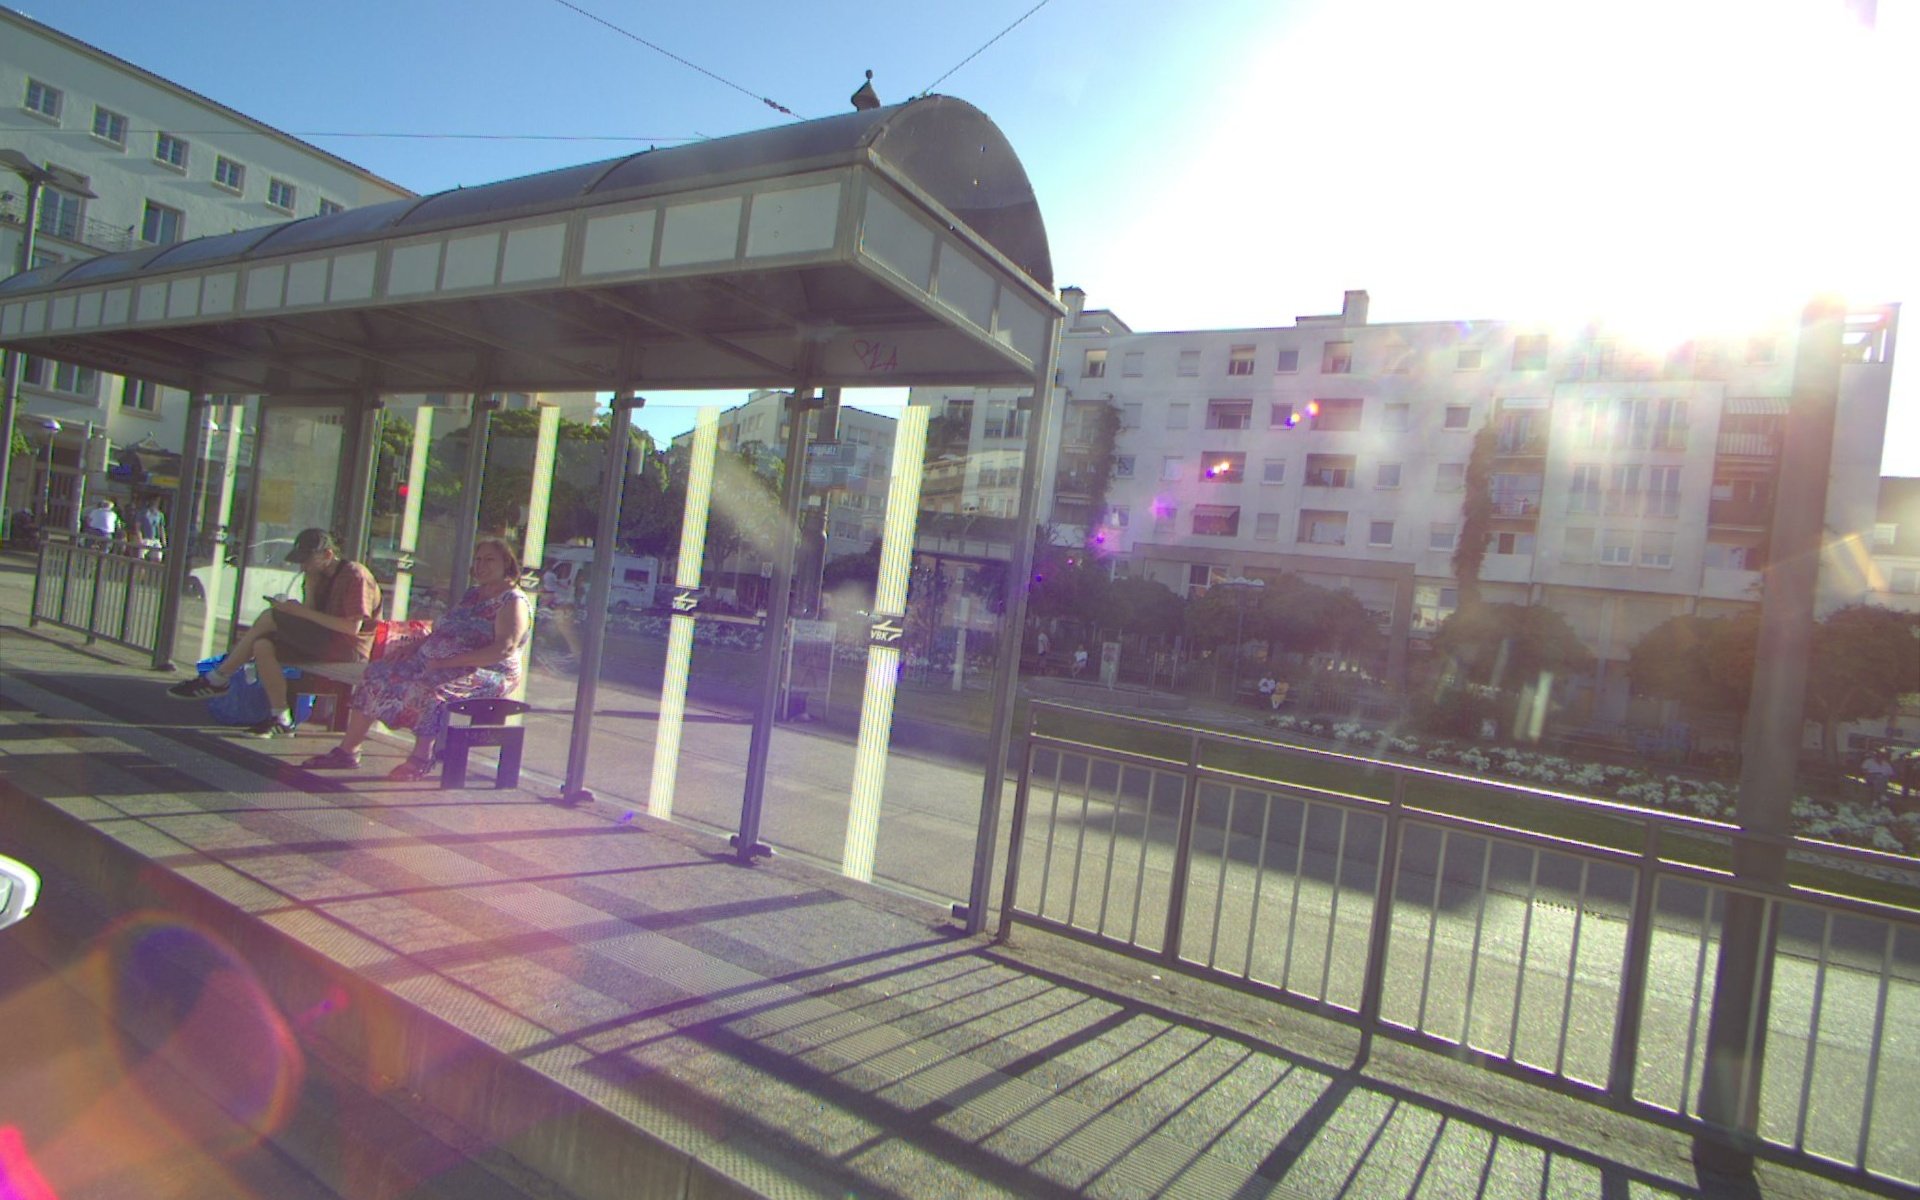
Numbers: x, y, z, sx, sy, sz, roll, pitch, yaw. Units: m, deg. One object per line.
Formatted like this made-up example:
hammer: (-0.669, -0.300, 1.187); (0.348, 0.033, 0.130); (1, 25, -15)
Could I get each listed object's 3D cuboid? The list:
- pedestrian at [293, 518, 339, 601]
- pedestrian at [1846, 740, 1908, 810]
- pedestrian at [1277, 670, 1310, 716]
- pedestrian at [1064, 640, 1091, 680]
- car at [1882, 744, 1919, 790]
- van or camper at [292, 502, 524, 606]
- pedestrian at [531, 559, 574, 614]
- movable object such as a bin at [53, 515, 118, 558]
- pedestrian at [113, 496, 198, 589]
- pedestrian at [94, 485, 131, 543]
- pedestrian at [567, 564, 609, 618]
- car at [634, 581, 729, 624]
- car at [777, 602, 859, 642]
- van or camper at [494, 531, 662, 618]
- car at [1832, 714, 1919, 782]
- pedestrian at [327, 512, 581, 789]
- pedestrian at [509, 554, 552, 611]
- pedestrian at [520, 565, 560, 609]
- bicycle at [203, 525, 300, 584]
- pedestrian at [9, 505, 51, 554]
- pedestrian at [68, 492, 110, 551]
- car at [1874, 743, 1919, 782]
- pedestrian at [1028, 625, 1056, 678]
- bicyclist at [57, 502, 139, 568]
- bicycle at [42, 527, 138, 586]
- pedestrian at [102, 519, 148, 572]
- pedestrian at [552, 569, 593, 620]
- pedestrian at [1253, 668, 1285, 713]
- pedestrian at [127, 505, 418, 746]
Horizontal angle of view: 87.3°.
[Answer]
pedestrian: (-14.301, -0.893, 22.340); (0.520, 1.765, 0.557); (6, -1, 42)
pedestrian: (21.653, 4.111, 23.783); (0.923, 1.428, 1.521); (7, -1, 42)
pedestrian: (10.307, 2.868, 31.129); (0.718, 1.287, 0.745); (7, 0, 11)
pedestrian: (4.080, 2.073, 34.848); (0.718, 1.287, 1.042); (7, 0, 11)
car: (36.668, 6.399, 36.890); (3.941, 1.535, 1.993); (7, -1, 38)
van or camper: (-20.411, -1.615, 37.679); (2.331, 2.780, 7.132); (9, 0, 32)
pedestrian: (-12.961, -0.436, 32.028); (0.651, 1.605, 0.902); (7, 0, 35)
movable object such as a bin: (-28.110, -2.042, 32.345); (1.197, 1.167, 1.200); (7, -1, 32)
pedestrian: (-18.038, -1.274, 22.559); (1.110, 1.900, 0.983); (6, -1, 29)
pedestrian: (-28.732, -2.914, 34.107); (0.649, 1.861, 0.653); (7, 0, 35)
pedestrian: (-12.163, -0.293, 32.896); (0.651, 1.605, 0.902); (7, 0, 35)
car: (-13.703, 0.150, 49.653); (1.974, 1.529, 3.982); (6, -3, 43)
car: (-6.702, 1.083, 47.955); (1.964, 1.503, 4.000); (7, -1, 23)
van or camper: (-16.493, -1.039, 43.826); (2.340, 2.873, 6.411); (7, -1, 35)
car: (43.835, 6.923, 45.211); (6.286, 2.585, 2.812); (7, -1, 28)
pedestrian: (-2.721, 0.290, 5.469); (0.613, 1.348, 0.861); (6, -4, 31)
pedestrian: (-14.086, -0.571, 33.004); (0.684, 1.705, 0.902); (7, 0, 35)
pedestrian: (-13.528, -0.417, 32.404); (0.595, 1.295, 0.902); (7, -1, 37)
bicycle: (-23.530, -1.477, 33.477); (0.714, 1.548, 2.391); (7, -3, 31)
pedestrian: (-27.989, -2.118, 30.288); (0.736, 1.332, 0.622); (7, 0, -35)
pedestrian: (-29.498, -2.659, 34.058); (0.667, 1.861, 0.785); (7, 0, 35)
car: (39.764, 6.802, 40.643); (3.941, 1.303, 1.993); (7, -1, 38)
pedestrian: (2.848, 1.785, 34.842); (0.661, 1.745, 1.028); (7, 0, 11)
bicyclist: (-18.658, -1.392, 21.798); (0.941, 1.239, 0.929); (9, -2, -21)
bicycle: (-18.720, -0.903, 21.707); (0.711, 1.073, 2.313); (9, -2, -21)
pedestrian: (-25.309, -1.644, 30.489); (0.742, 1.427, 0.731); (11, 1, 32)
pedestrian: (-13.180, -0.186, 34.222); (0.651, 1.604, 0.902); (7, 0, 35)
pedestrian: (9.607, 2.797, 31.276); (0.718, 1.287, 0.745); (7, 0, 11)
pedestrian: (-4.064, 0.169, 5.993); (0.908, 1.238, 1.001); (6, -4, 32)
